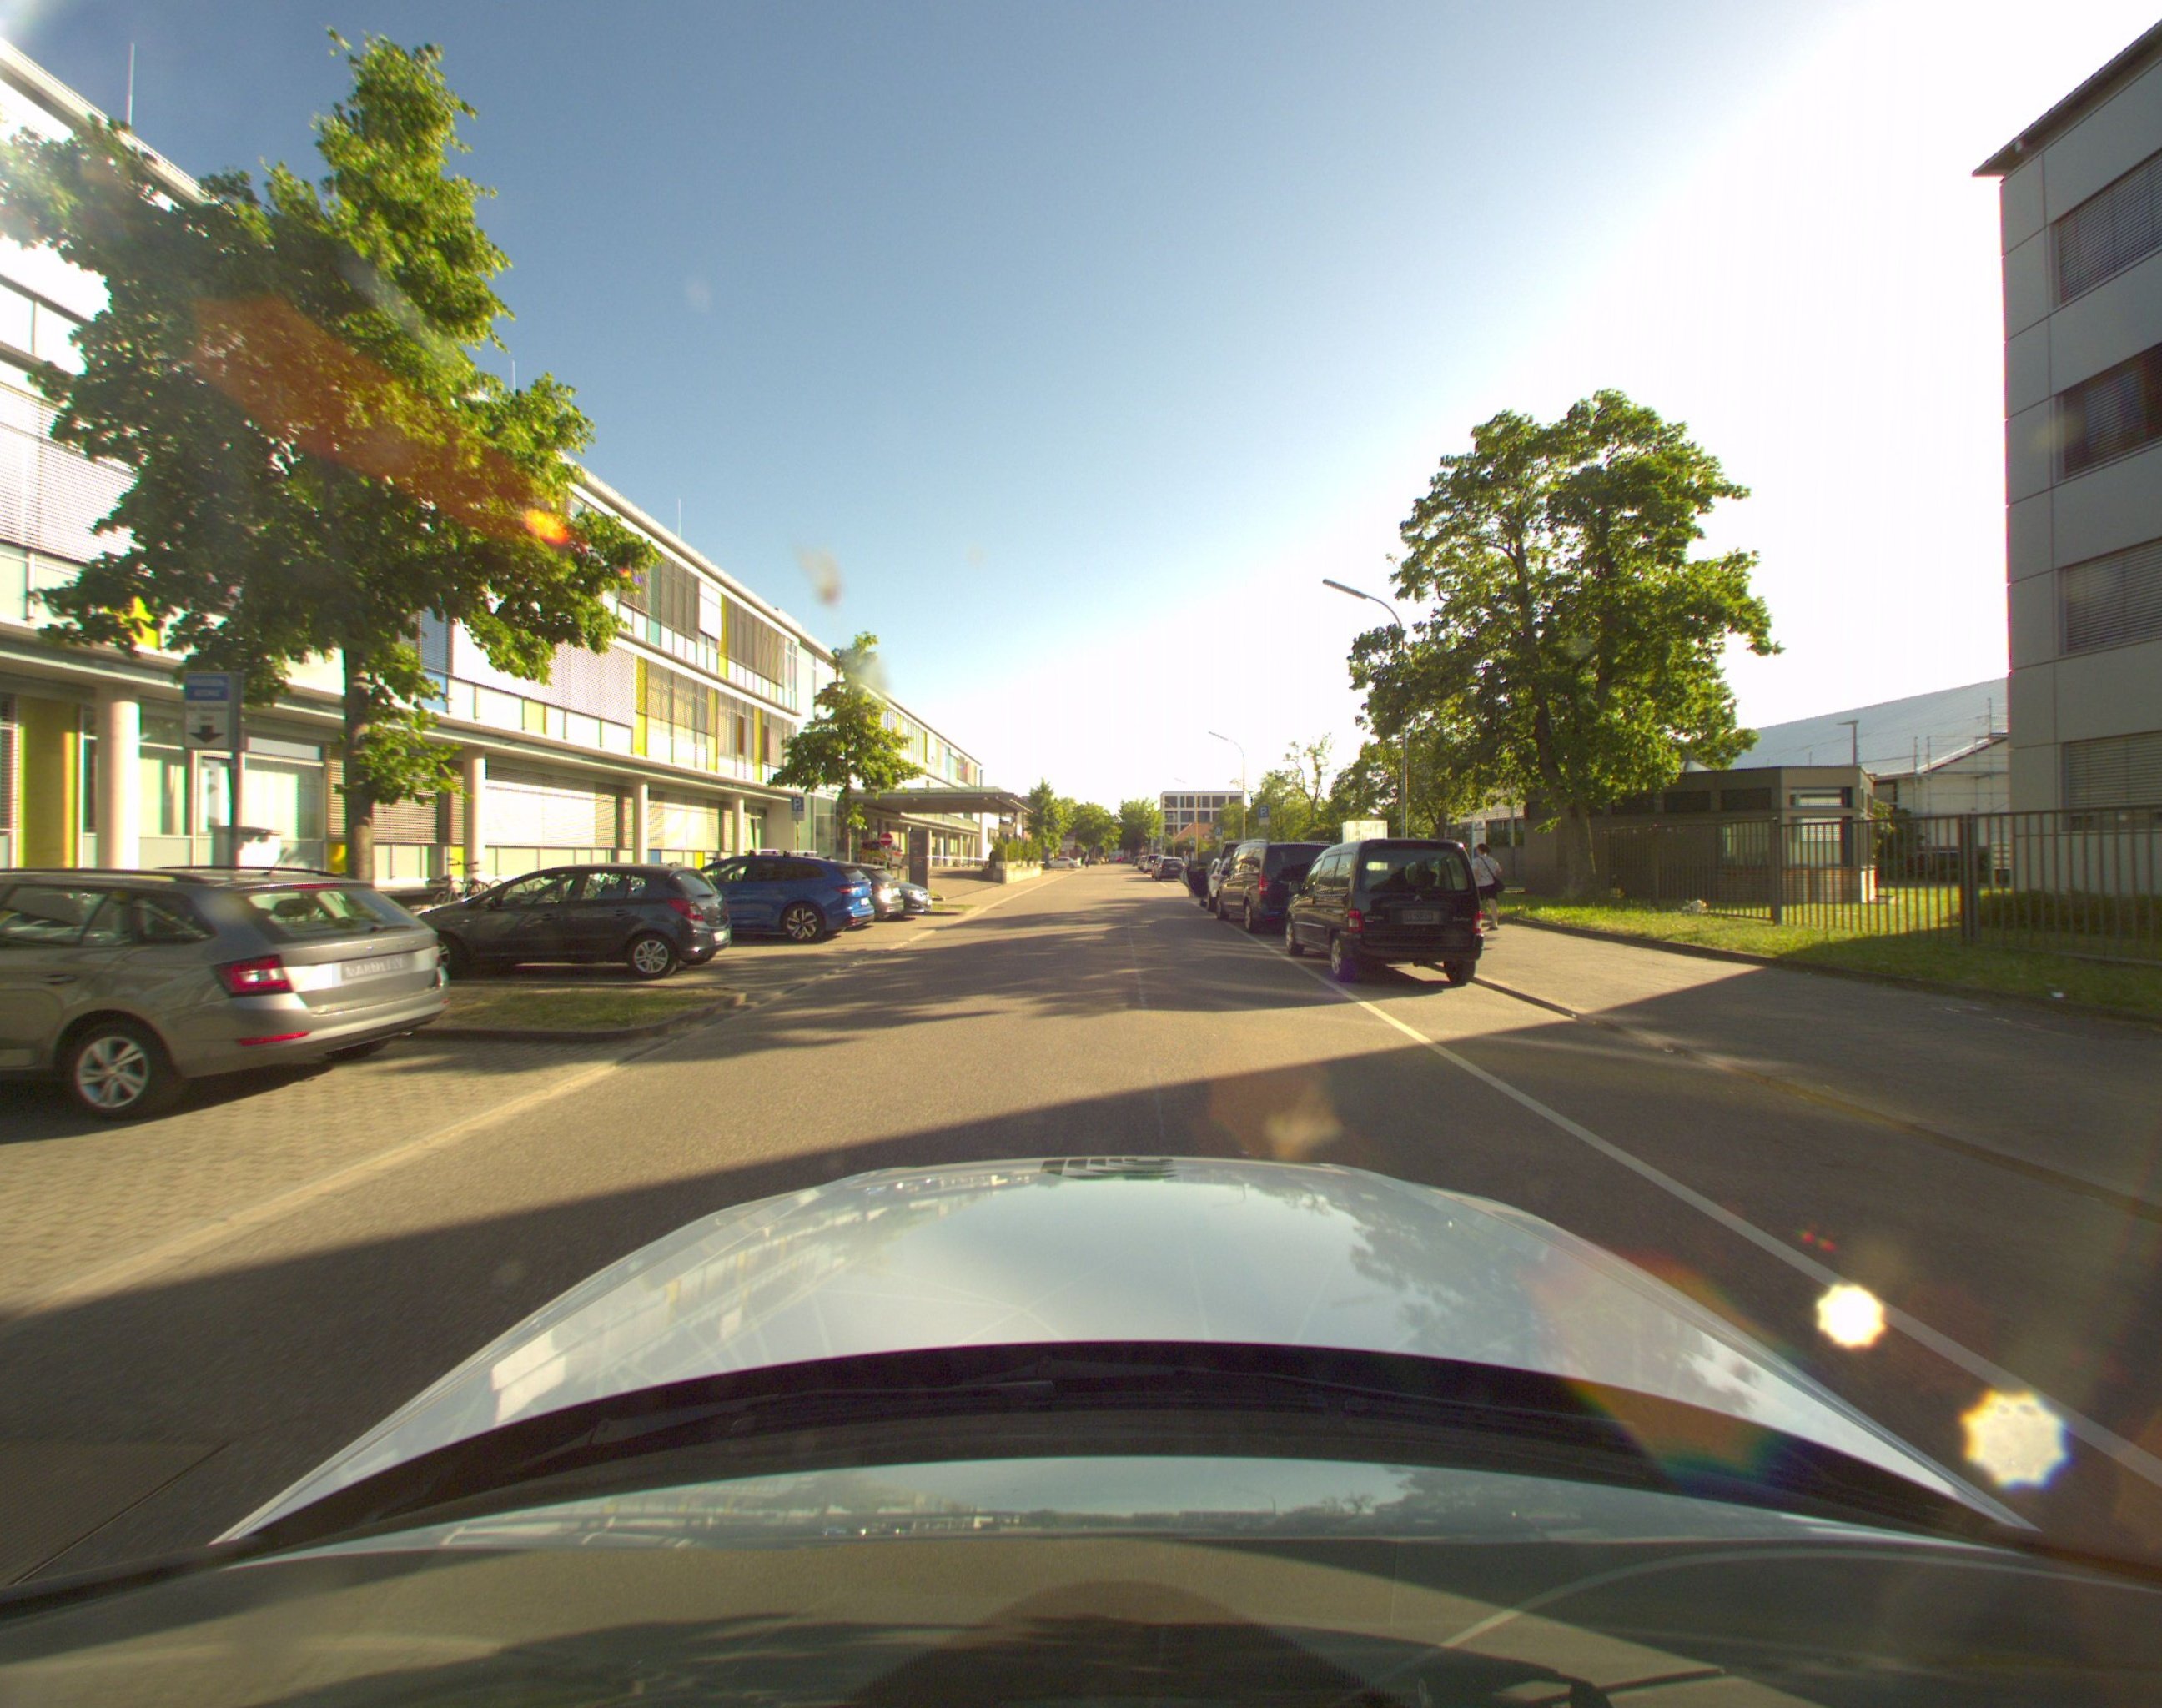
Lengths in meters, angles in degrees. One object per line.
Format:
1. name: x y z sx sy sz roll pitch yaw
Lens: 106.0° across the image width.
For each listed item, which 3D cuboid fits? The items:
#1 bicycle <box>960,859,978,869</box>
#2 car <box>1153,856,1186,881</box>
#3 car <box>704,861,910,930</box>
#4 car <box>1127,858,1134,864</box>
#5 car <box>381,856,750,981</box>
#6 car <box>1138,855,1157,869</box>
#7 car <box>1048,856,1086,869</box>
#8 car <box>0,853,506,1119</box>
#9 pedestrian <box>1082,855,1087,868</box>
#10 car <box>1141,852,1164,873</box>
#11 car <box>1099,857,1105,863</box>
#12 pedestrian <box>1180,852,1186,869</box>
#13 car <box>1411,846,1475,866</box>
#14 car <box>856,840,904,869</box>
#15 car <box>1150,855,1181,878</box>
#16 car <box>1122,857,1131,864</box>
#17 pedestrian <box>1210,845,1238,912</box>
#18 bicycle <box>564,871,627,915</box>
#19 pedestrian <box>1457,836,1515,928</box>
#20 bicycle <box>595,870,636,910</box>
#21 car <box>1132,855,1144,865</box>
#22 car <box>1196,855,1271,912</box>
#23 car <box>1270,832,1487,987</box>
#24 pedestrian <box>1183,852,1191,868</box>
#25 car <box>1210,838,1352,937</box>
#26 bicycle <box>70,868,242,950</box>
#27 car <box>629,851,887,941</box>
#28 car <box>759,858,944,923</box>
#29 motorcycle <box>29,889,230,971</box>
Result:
1. bicycle: -11.125 1.017 80.837 1.709 0.994 0.536 -1 0 1
2. car: 5.541 0.887 51.355 1.694 1.487 4.216 1 0 1
3. car: -5.992 0.898 18.139 3.974 1.438 1.731 0 0 -1
4. car: 12.989 1.752 214.581 1.942 1.578 3.839 0 0 3
5. car: -6.708 0.824 10.996 3.736 1.488 1.775 2 -1 -6
6. car: 7.200 0.878 88.645 1.695 1.487 3.979 1 0 0
7. car: -1.706 1.021 99.209 4.501 1.367 1.698 2 0 -3
8. car: -6.693 0.775 5.698 3.968 1.488 1.823 1 -1 0
9. pedestrian: 0.406 0.901 100.391 0.536 1.524 0.608 -1 0 3
10. car: 6.428 0.747 73.584 1.802 1.722 4.705 1 0 1
11. car: 5.826 1.712 225.256 1.760 1.487 4.001 0 -1 1
12. pedestrian: 10.323 0.638 82.477 0.519 1.708 0.522 2 -1 0
13. car: 25.673 0.137 57.839 3.877 1.379 1.674 0 0 -1
14. car: -13.466 0.022 54.836 1.912 1.891 4.713 -1 0 2
15. car: 5.891 0.835 57.134 1.802 1.510 4.723 1 0 1
16. car: 9.464 1.330 171.212 1.760 1.548 4.067 0 -1 1
17. pedestrian: 3.825 0.657 21.787 0.583 1.746 0.708 1 0 20
18. bicycle: -12.012 0.944 20.208 0.445 1.015 1.780 -1 0 1
19. pedestrian: 7.839 0.531 15.792 0.689 1.728 0.776 -2 0 1
20. bicycle: -12.522 0.960 21.954 0.351 1.022 1.395 -1 0 -3
21. car: 8.695 0.956 124.136 1.810 1.453 4.218 -1 0 3
22. car: 4.439 0.801 24.218 1.657 1.513 4.117 1 0 3
23. car: 4.007 0.654 11.754 1.695 1.794 4.297 1 0 2
24. pedestrian: 10.651 0.574 81.863 0.679 1.611 0.540 2 -1 0
25. car: 4.239 0.647 18.172 1.859 1.869 5.020 1 0 -1
26. bicycle: -14.949 0.849 13.248 0.644 1.199 1.856 -1 0 1
27. car: -6.131 0.770 15.848 4.207 1.651 1.960 0 0 -1
28. car: -5.730 0.890 20.682 4.117 1.467 1.754 -2 0 0
29. motorcycle: -11.573 0.908 9.945 1.571 0.944 0.621 1 -1 -6
